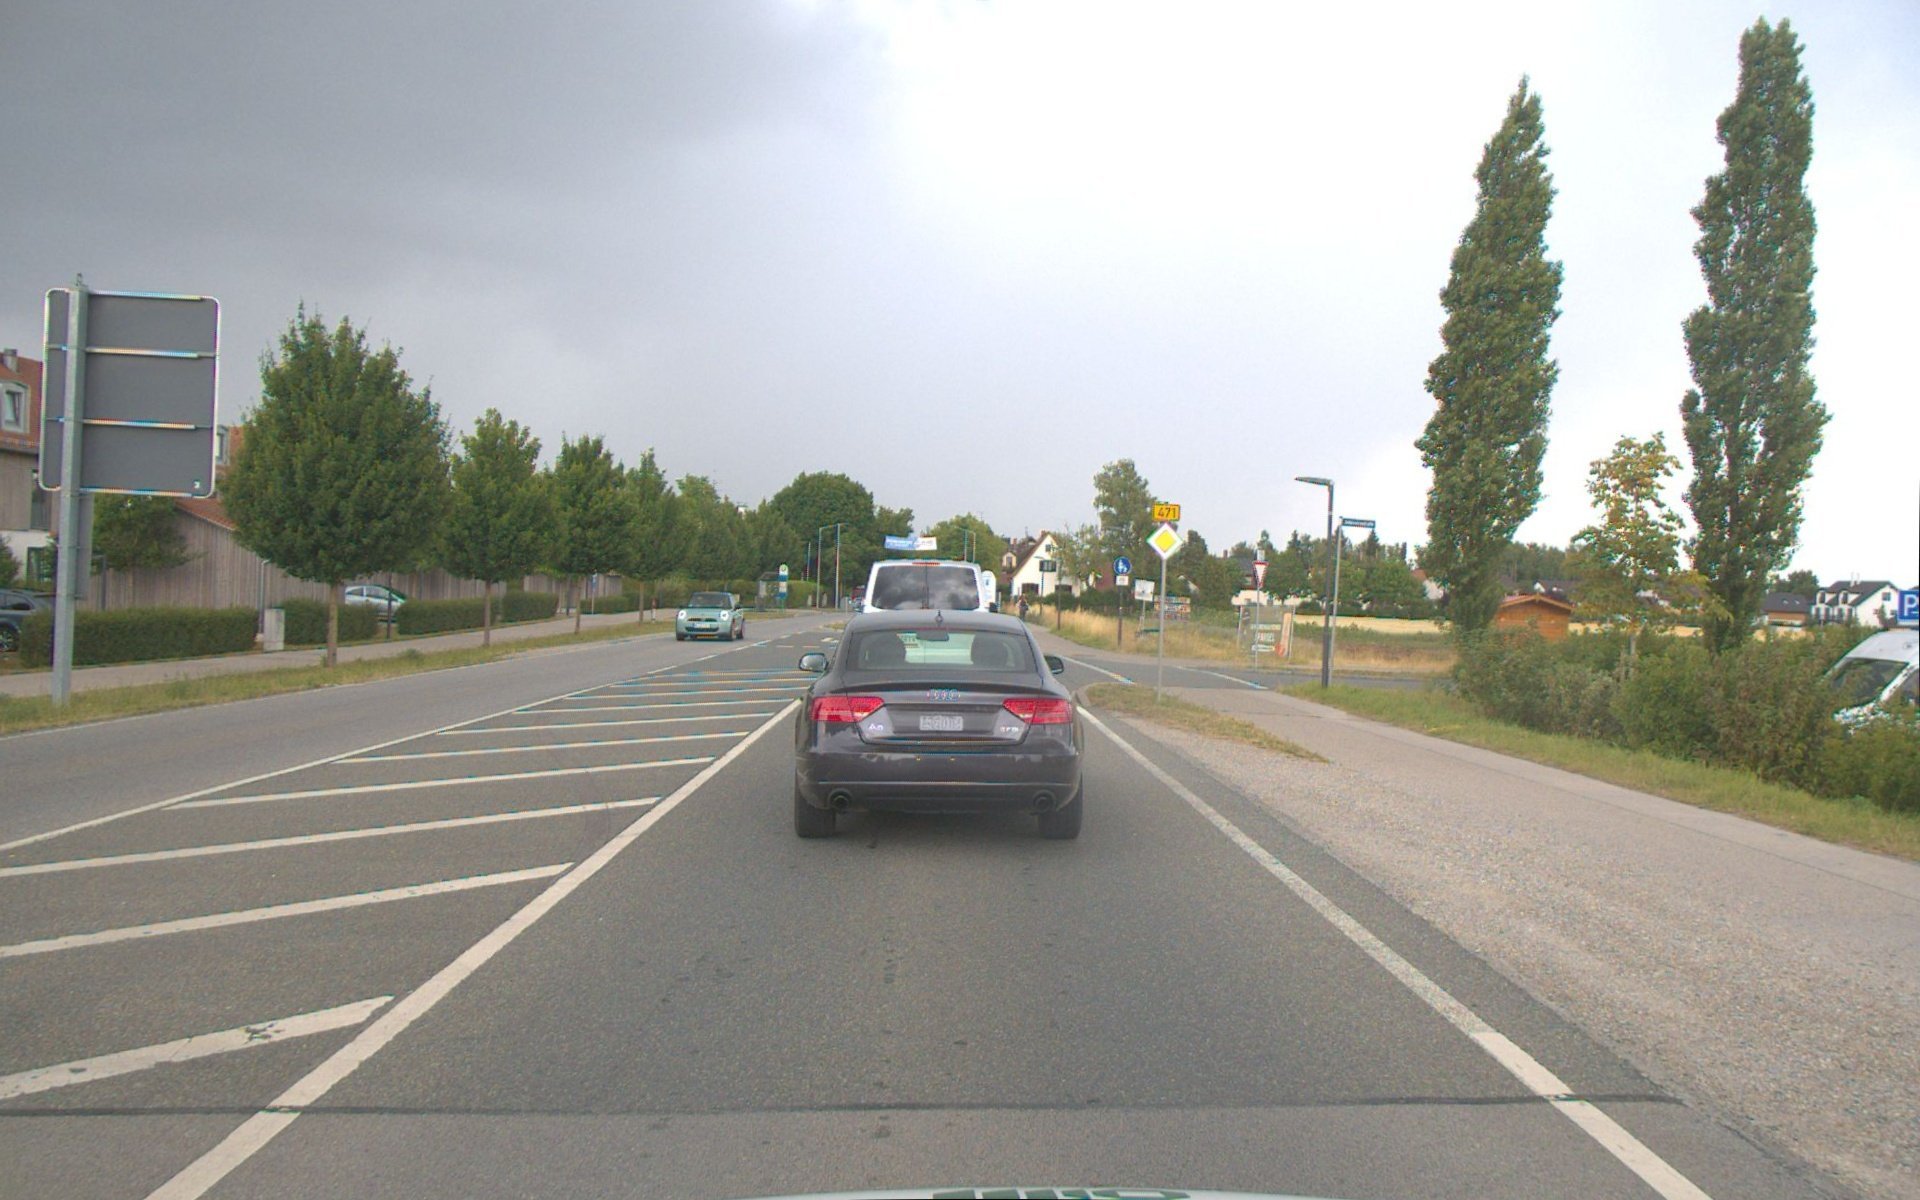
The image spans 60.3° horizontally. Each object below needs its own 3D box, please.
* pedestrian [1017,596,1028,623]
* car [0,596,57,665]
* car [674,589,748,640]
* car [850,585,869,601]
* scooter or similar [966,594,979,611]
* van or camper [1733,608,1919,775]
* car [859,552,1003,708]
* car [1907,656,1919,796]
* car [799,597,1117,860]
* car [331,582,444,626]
[{"bbox_3d":[3.562,0.530,94.273,0.611,1.551,0.679,0,0,-2],"label":"pedestrian"},{"bbox_3d":[-22.674,0.674,37.564,3.443,1.515,1.563,0,0,-1],"label":"car"},{"bbox_3d":[-7.565,0.406,50.567,1.734,1.469,3.999,0,1,-1],"label":"car"},{"bbox_3d":[-9.369,-0.635,154.169,1.620,1.454,3.601,0,1,-1],"label":"car"},{"bbox_3d":[0.827,0.172,111.600,0.831,1.123,1.094,0,0,-1],"label":"scooter or similar"},{"bbox_3d":[16.088,1.415,26.572,6.338,2.507,2.280,0,0,-4],"label":"van or camper"},{"bbox_3d":[-0.461,0.370,23.546,1.789,1.946,3.998,3,0,-3],"label":"car"},{"bbox_3d":[16.360,1.872,23.683,4.501,2.049,1.999,0,0,-3],"label":"car"},{"bbox_3d":[-0.200,0.709,11.459,1.790,1.413,4.383,0,1,-5],"label":"car"},{"bbox_3d":[-23.706,0.141,68.604,3.905,1.583,2.000,3,0,0],"label":"car"}]
